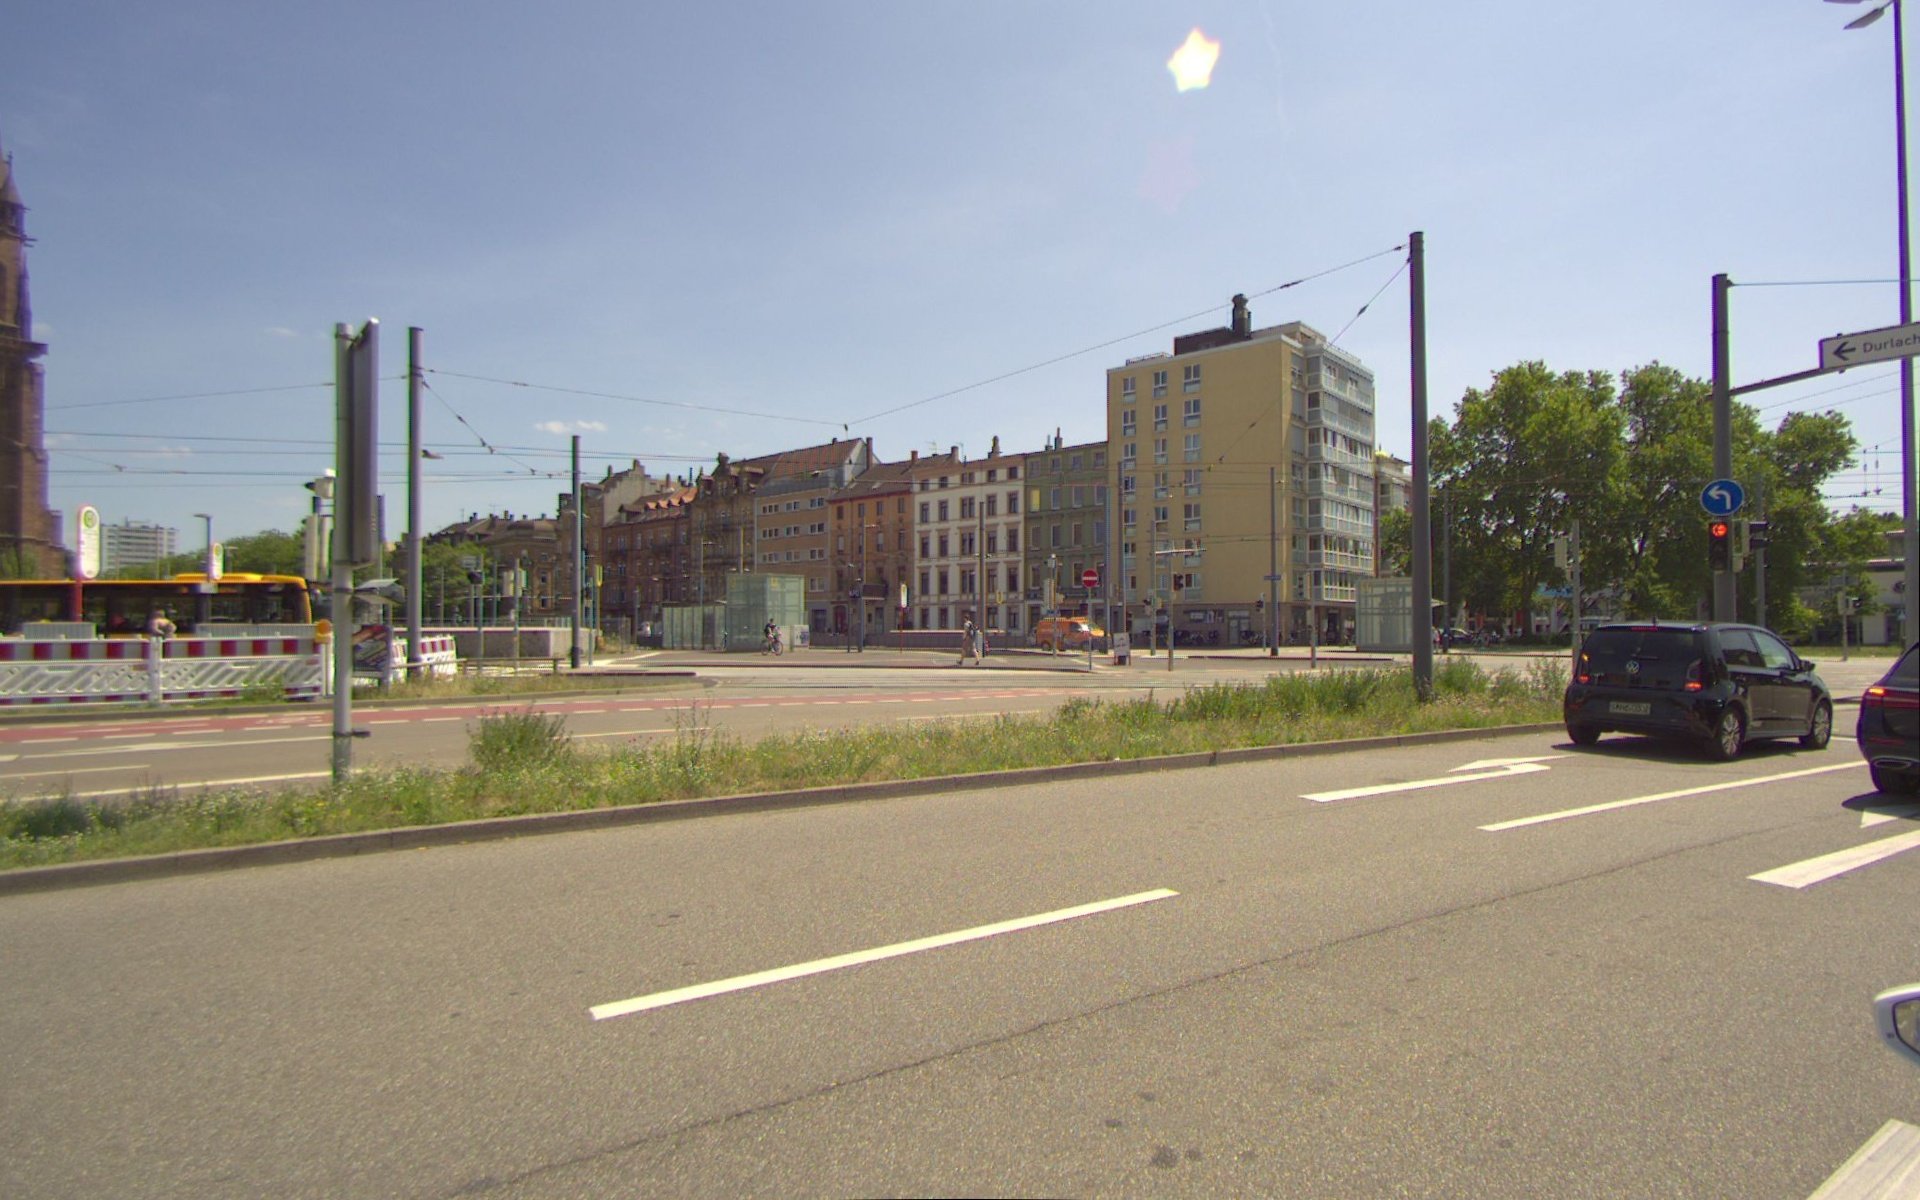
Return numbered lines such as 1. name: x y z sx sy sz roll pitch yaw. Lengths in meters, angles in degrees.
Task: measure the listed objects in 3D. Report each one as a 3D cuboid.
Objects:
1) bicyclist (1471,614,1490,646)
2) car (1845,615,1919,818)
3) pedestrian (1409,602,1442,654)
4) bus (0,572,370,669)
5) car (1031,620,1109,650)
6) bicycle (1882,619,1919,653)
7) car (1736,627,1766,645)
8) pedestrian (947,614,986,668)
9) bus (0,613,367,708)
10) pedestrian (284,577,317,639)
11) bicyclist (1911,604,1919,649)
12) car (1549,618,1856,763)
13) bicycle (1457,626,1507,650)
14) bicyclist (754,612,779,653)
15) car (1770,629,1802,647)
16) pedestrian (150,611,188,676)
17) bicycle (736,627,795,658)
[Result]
1. bicyclist: 32.615 1.865 62.935 0.621 1.992 0.839 -2 0 -38
2. car: 9.590 0.938 8.659 4.535 1.577 1.708 1 -2 -32
3. pedestrian: 27.380 1.640 59.042 1.322 2.977 1.206 -1 0 -34
4. bus: -27.337 0.731 34.163 12.020 3.081 3.737 0 -2 -5
5. car: 6.496 2.056 59.885 4.575 1.635 1.665 -1 0 45
6. bicycle: 43.101 1.607 44.814 0.627 1.483 2.810 -1 0 -32
7. car: 74.969 3.423 95.244 3.405 1.528 1.414 -1 0 -37
8. pedestrian: 0.247 1.532 37.982 1.163 1.959 0.899 -1 0 35
9. bus: -12.998 0.919 16.218 5.768 1.266 1.234 -1 0 -39
10. pedestrian: -21.769 0.269 33.165 0.651 2.022 0.611 -1 0 -1
11. bicyclist: 43.079 1.182 44.837 0.653 1.964 0.759 -1 0 -32
12. car: 8.949 0.980 12.035 3.955 1.482 1.613 1 -2 -32
13. bicycle: 32.669 2.360 62.861 0.664 1.404 2.754 -2 0 -37
14. bicyclist: -9.626 1.611 50.025 0.784 2.040 0.859 -1 0 38
15. car: 75.967 3.488 92.373 3.388 1.437 1.499 -1 0 -37
16. pedestrian: -24.941 1.363 31.664 0.650 2.022 0.611 -1 0 9
17. bicycle: -9.732 2.090 50.117 3.411 1.466 0.874 -1 0 38
